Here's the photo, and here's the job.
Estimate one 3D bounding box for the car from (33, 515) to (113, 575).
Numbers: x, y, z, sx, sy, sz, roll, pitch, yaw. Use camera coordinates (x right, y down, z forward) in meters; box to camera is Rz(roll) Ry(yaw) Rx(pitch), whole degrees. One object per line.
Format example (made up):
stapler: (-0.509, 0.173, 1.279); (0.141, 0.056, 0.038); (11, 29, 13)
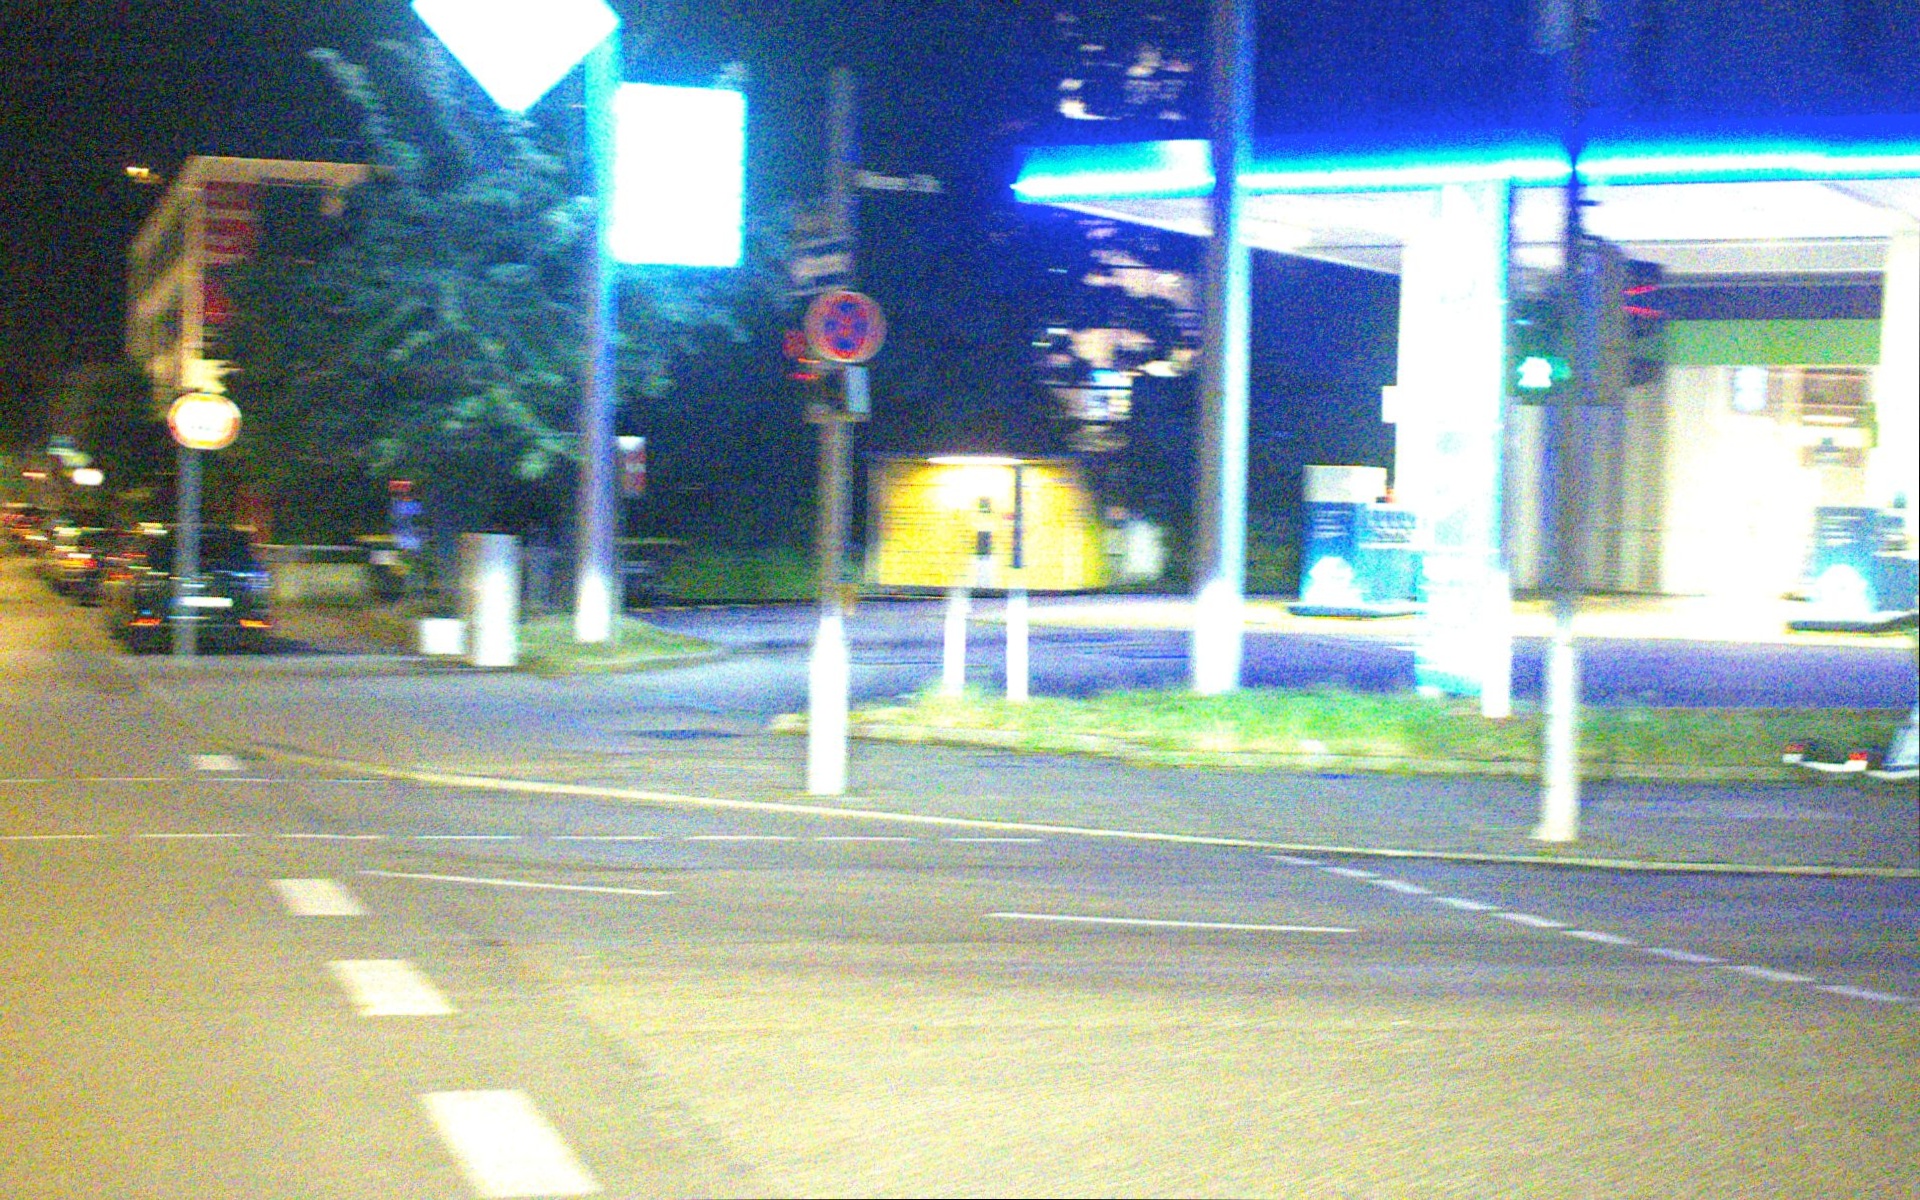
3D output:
car: (-23.433, -1.433, 90.864); (1.993, 1.515, 4.001); (1, 0, -14)

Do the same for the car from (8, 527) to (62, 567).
car: (-36.690, -2.079, 136.393); (1.993, 1.515, 4.001); (1, 0, -14)

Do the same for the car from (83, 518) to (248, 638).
car: (-11.467, -0.342, 49.429); (1.993, 1.590, 4.001); (2, 1, -17)

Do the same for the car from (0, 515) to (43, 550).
car: (-43.332, -3.117, 158.494); (1.993, 1.515, 4.001); (1, 0, -14)

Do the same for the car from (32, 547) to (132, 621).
car: (-18.819, -0.346, 73.723); (1.993, 1.515, 4.001); (1, 0, -14)

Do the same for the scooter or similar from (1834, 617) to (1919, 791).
scooter or similar: (6.578, 0.680, 23.189); (0.716, 1.088, 1.677); (2, 2, 37)

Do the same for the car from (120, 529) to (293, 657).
car: (-9.714, -0.119, 44.110); (1.993, 1.511, 4.001); (2, 1, -14)

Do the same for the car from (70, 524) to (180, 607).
car: (-16.267, -0.667, 66.914); (1.993, 1.515, 4.001); (1, 0, -14)
